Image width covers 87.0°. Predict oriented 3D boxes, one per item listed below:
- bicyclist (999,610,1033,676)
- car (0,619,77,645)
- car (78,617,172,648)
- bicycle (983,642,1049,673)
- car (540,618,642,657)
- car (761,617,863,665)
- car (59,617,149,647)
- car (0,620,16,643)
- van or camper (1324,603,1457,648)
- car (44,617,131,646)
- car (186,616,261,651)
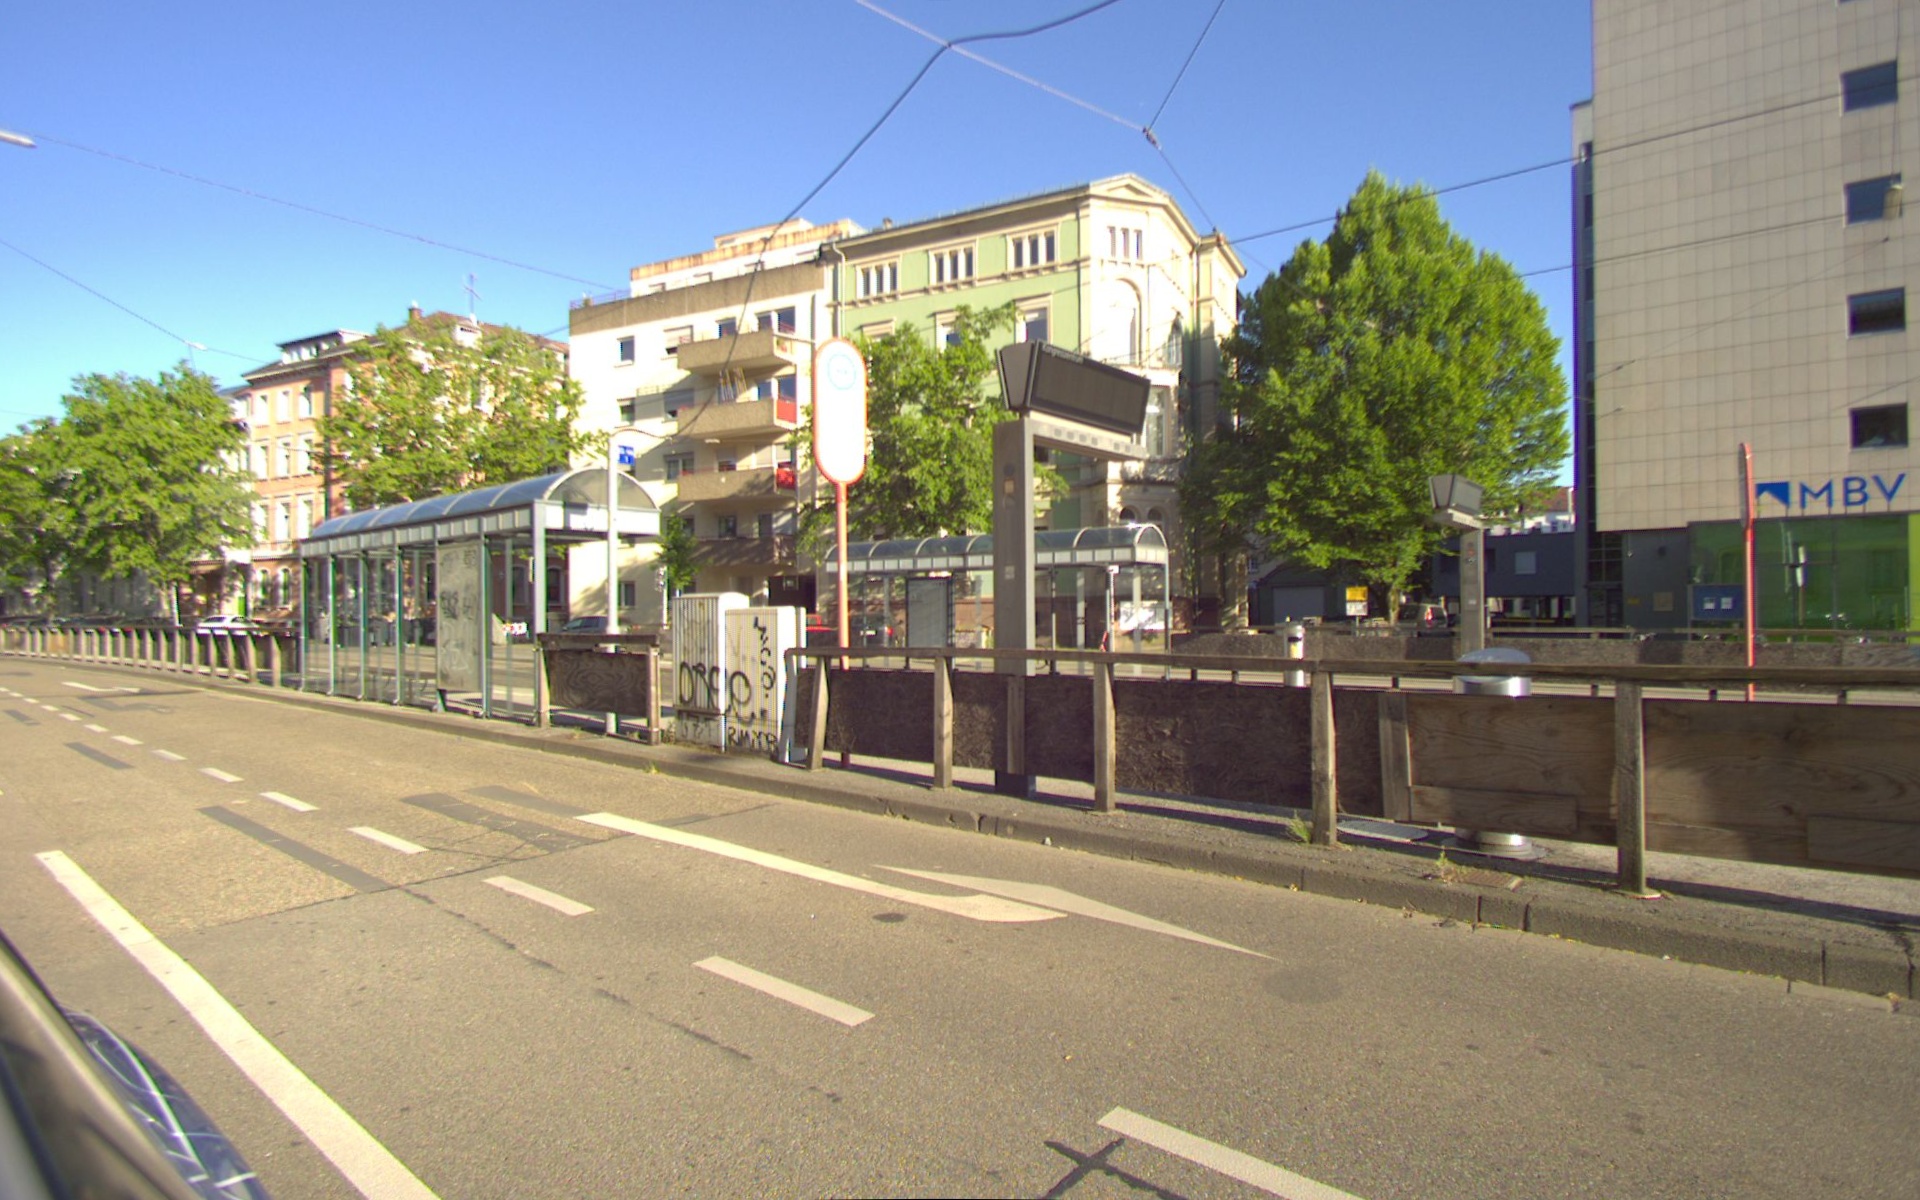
[{"bbox_3d":[1.530,1.160,27.619,0.770,1.774,0.529,-1,-2,41],"label":"bicyclist"},{"bbox_3d":[-59.601,2.068,65.294,3.811,1.604,2.001,1,-2,-45],"label":"car"},{"bbox_3d":[-47.968,1.832,58.180,2.001,1.697,3.942,-2,-2,44],"label":"car"},{"bbox_3d":[1.513,1.557,27.615,1.852,0.793,0.529,-1,-2,41],"label":"bicycle"},{"bbox_3d":[-13.997,1.419,38.413,3.498,1.406,1.602,-1,-2,22],"label":"car"},{"bbox_3d":[-4.996,1.370,34.707,1.763,1.547,3.763,-1,-2,23],"label":"car"},{"bbox_3d":[-51.285,1.896,60.653,2.001,1.697,3.942,-2,-2,44],"label":"car"},{"bbox_3d":[-68.090,2.201,70.140,2.001,1.604,3.812,-2,-2,44],"label":"car"},{"bbox_3d":[15.511,0.889,36.561,3.998,1.417,1.943,2,0,41],"label":"van or camper"},{"bbox_3d":[-54.292,1.942,62.982,2.001,1.697,3.942,-2,-2,44],"label":"car"},{"bbox_3d":[-39.513,1.759,54.397,1.966,1.736,4.012,0,1,-15],"label":"car"}]
